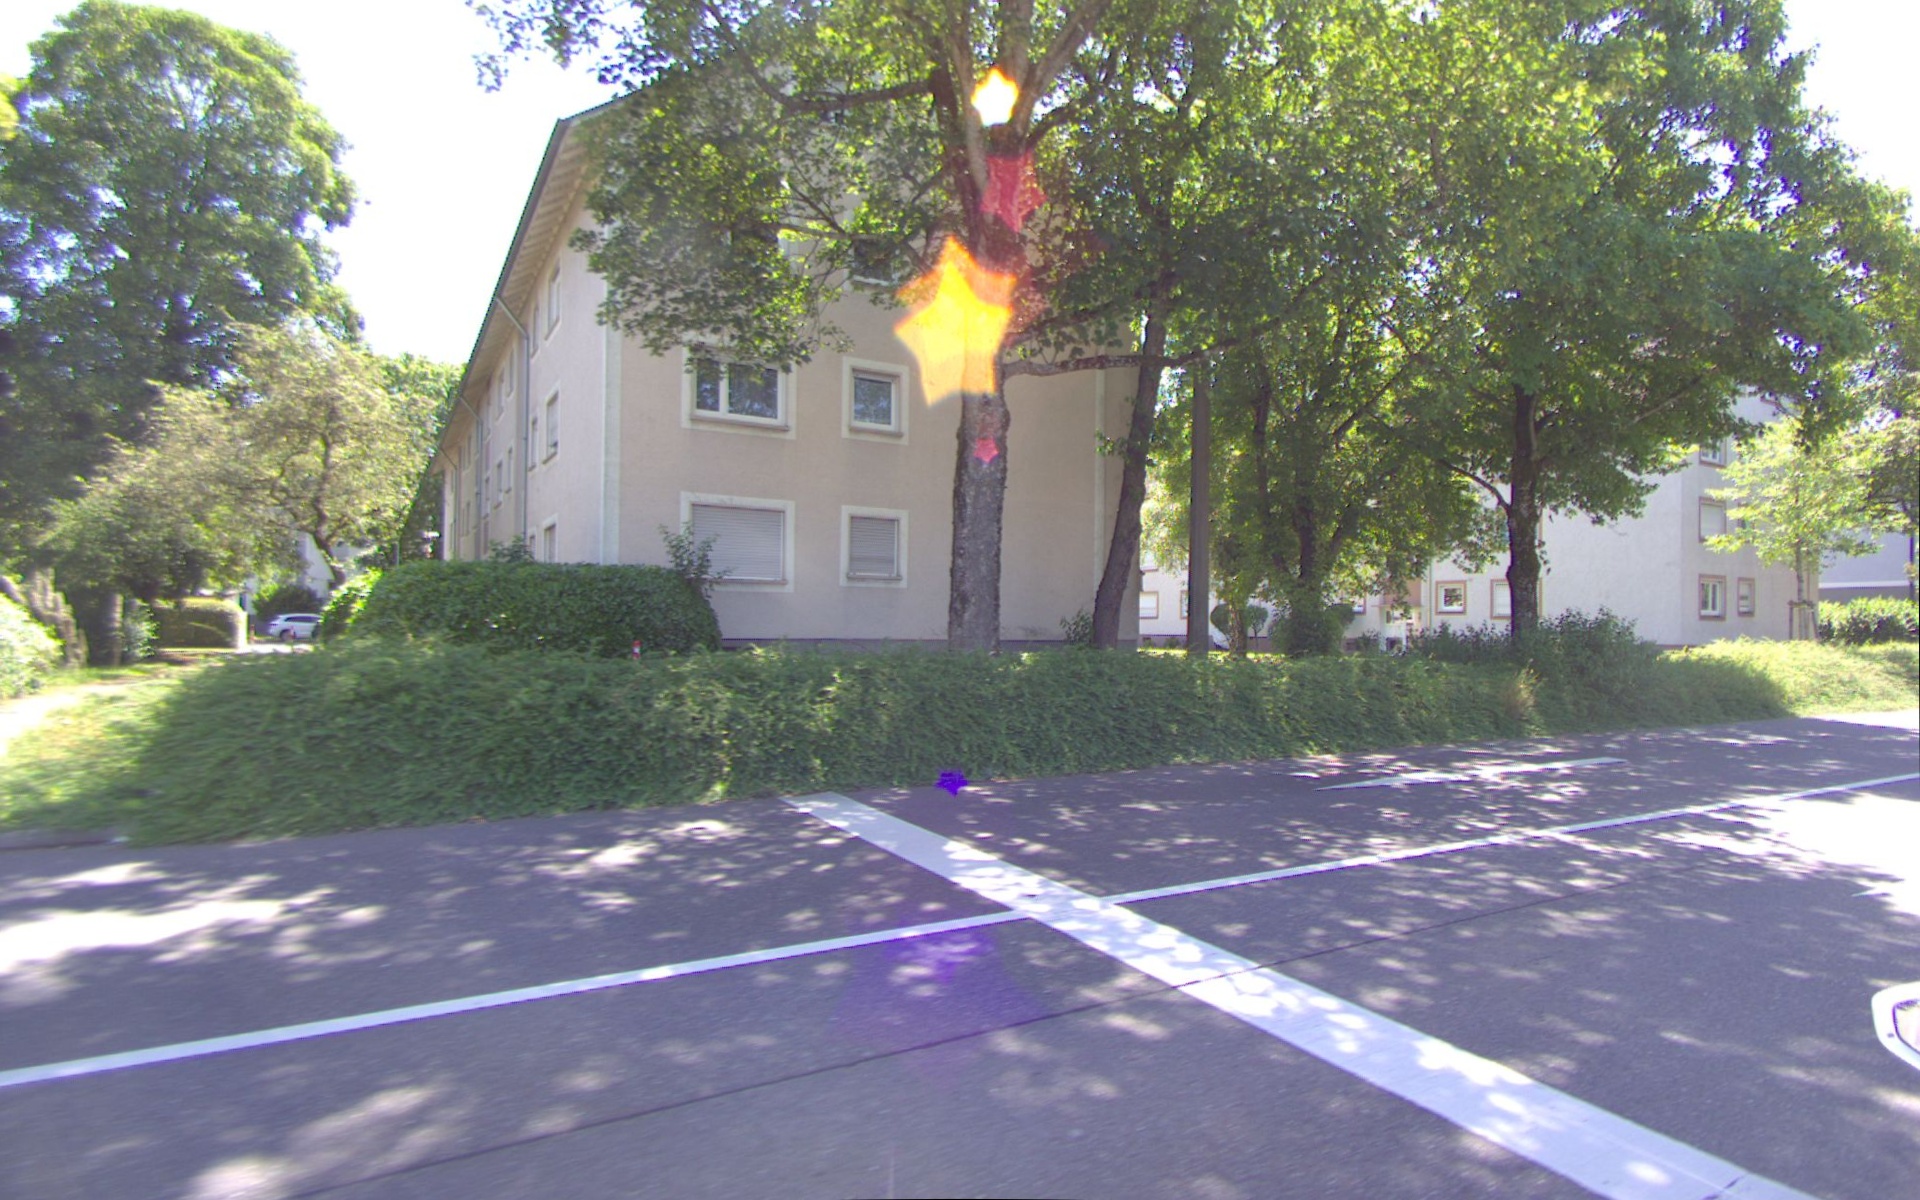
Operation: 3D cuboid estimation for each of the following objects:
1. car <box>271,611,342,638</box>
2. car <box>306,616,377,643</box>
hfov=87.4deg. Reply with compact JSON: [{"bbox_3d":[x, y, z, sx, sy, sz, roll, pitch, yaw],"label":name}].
[{"bbox_3d":[-40.941,1.518,63.030,3.595,1.601,1.706,1,0,-30],"label":"car"},{"bbox_3d":[-36.426,1.723,59.241,3.357,1.527,1.674,1,0,-27],"label":"car"}]
